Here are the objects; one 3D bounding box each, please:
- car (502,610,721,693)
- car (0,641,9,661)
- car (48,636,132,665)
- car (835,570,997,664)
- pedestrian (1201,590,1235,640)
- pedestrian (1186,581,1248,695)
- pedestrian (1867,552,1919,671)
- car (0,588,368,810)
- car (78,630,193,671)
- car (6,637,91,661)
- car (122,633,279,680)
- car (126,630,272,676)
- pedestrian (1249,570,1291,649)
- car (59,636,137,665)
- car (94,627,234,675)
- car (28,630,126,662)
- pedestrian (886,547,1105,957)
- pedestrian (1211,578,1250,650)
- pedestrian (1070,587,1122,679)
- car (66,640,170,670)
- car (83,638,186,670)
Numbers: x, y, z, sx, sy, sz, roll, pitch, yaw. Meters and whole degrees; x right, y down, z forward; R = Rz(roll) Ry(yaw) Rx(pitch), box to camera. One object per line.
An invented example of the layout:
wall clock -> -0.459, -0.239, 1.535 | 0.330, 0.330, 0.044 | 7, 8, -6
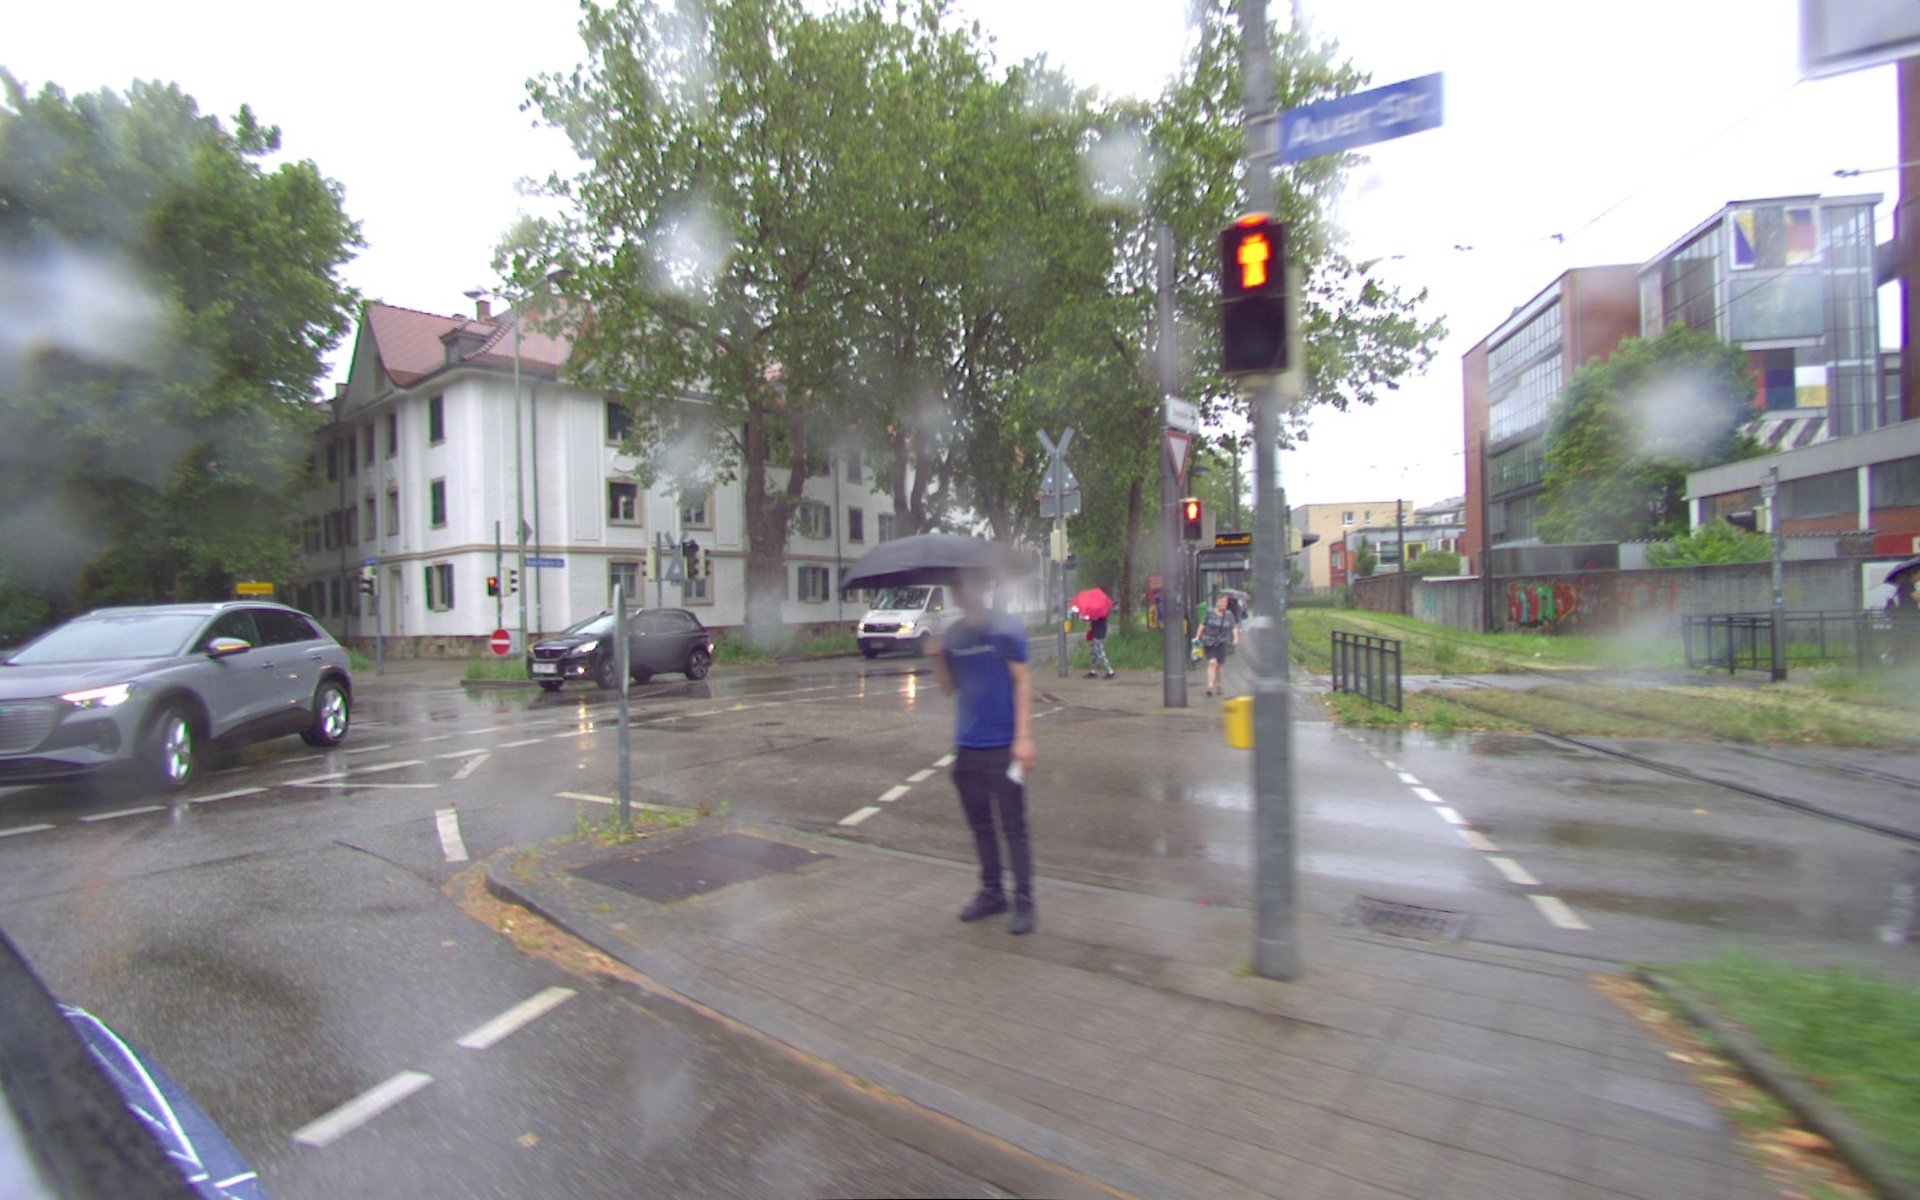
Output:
car -> -6.760, 0.965, 20.040 | 1.844, 1.455, 3.965 | -2, -1, 26
car -> -93.639, 4.963, 97.803 | 3.996, 1.820, 1.974 | -3, -1, 39
car -> -56.768, 3.266, 66.062 | 1.828, 1.703, 4.052 | -3, -2, 44
car -> -1.160, 0.467, 31.310 | 2.271, 2.581, 6.457 | -2, 0, 25
pedestrian -> 9.695, 0.558, 38.039 | 0.846, 1.839, 0.851 | -1, -2, -14
pedestrian -> 4.003, 0.592, 15.779 | 0.852, 1.701, 0.845 | -2, -2, 14
pedestrian -> 15.510, 0.177, 16.373 | 0.841, 1.876, 0.951 | -2, -2, 16
car -> -7.621, 0.831, 9.663 | 1.783, 1.633, 4.142 | -3, -1, -5
car -> -42.677, 2.590, 52.467 | 2.033, 1.914, 4.382 | -3, -2, 42
car -> -68.100, 3.650, 75.668 | 2.034, 1.617, 4.604 | -3, -2, 44
car -> -29.986, 2.193, 40.066 | 1.929, 1.635, 4.675 | -3, -2, 41
car -> -31.541, 2.162, 42.025 | 2.034, 1.703, 4.604 | -3, -2, 44
pedestrian -> 7.469, 0.244, 24.434 | 0.852, 1.846, 0.845 | -2, -2, 14
car -> -54.933, 3.201, 64.516 | 1.938, 1.703, 3.669 | -3, -2, 44
car -> -34.767, 2.200, 44.284 | 2.034, 1.888, 4.604 | -3, -2, 44
car -> -61.633, 3.167, 70.719 | 2.034, 2.039, 5.017 | -3, -2, 44
pedestrian -> 0.180, 0.604, 4.477 | 0.639, 1.593, 0.856 | -2, -2, 26
pedestrian -> 6.545, 0.341, 24.528 | 0.852, 1.701, 0.845 | -2, -2, 14
pedestrian -> 2.620, 0.638, 19.410 | 0.841, 1.701, 0.856 | -2, -2, 16
car -> -48.818, 3.163, 58.739 | 2.034, 1.582, 4.464 | -3, -2, 44
car -> -46.730, 3.038, 57.356 | 1.928, 1.597, 4.347 | -3, -2, 44
